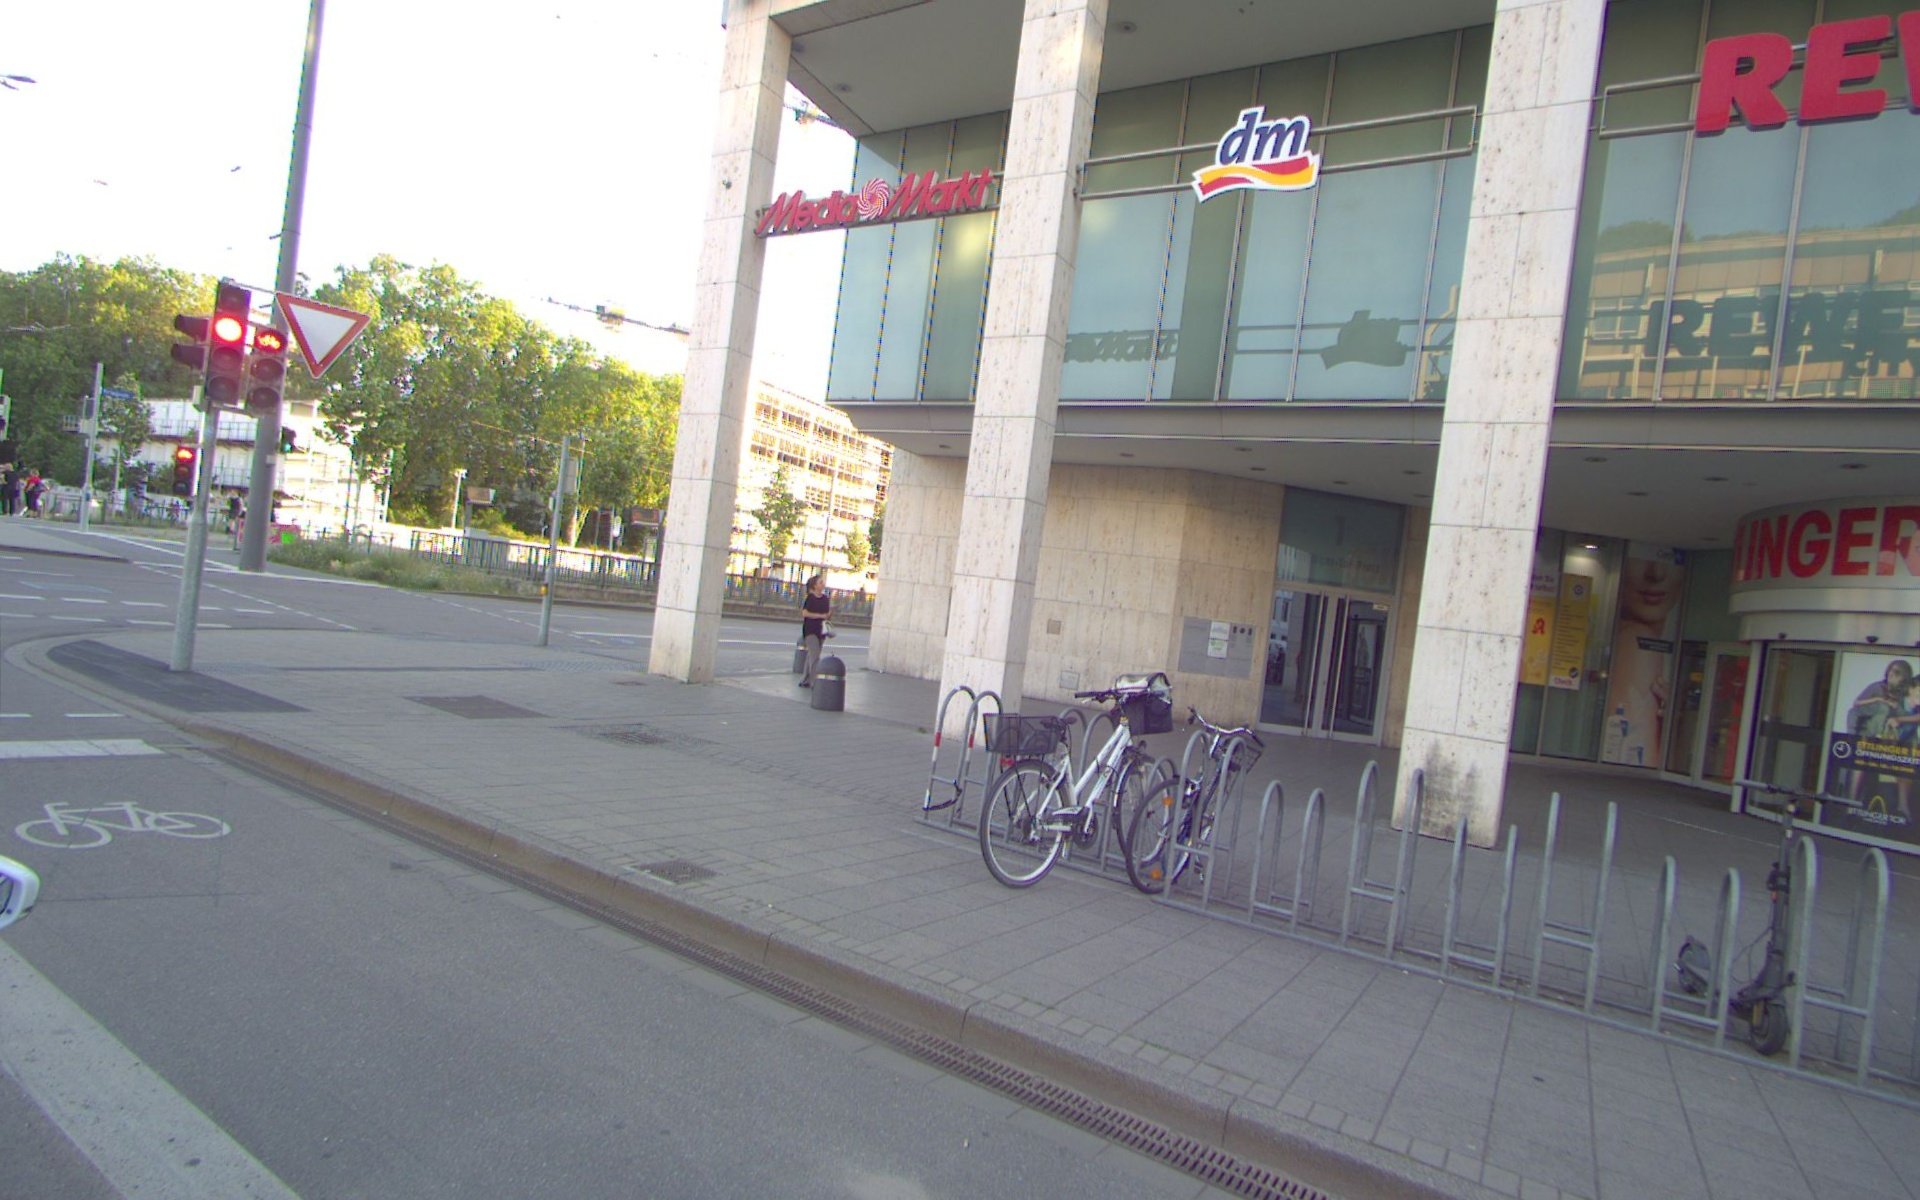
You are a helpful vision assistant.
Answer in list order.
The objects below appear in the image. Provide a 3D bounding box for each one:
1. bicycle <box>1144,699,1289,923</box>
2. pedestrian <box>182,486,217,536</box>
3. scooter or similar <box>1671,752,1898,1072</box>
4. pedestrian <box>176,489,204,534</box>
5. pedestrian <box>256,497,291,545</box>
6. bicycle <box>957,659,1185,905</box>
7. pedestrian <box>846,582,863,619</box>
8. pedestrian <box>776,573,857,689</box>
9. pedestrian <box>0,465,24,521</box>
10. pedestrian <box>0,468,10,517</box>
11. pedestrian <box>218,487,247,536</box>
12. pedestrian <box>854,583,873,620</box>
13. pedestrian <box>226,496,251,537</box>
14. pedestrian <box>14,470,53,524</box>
[{"bbox_3d":[1.675,1.239,6.372,0.474,1.092,1.773,8,0,24],"label":"bicycle"},{"bbox_3d":[-28.476,-3.317,37.667,0.700,1.746,0.668,8,1,24],"label":"pedestrian"},{"bbox_3d":[3.988,1.437,4.955,0.484,1.214,1.196,8,1,27],"label":"scooter or similar"},{"bbox_3d":[-29.482,-3.384,38.530,0.527,1.612,0.571,8,1,32],"label":"pedestrian"},{"bbox_3d":[-26.890,-3.082,39.426,0.699,1.746,0.668,7,1,10],"label":"pedestrian"},{"bbox_3d":[0.701,1.005,5.924,0.540,1.198,1.479,8,1,36],"label":"bicycle"},{"bbox_3d":[-6.195,0.027,59.070,0.559,2.039,0.575,8,1,28],"label":"pedestrian"},{"bbox_3d":[-2.183,0.484,15.331,0.696,1.659,0.792,8,1,31],"label":"pedestrian"},{"bbox_3d":[-32.844,-3.689,34.587,0.803,1.814,0.790,7,1,-44],"label":"pedestrian"},{"bbox_3d":[-33.979,-3.818,35.458,0.570,1.699,0.631,7,1,-44],"label":"pedestrian"},{"bbox_3d":[-27.800,-3.373,38.447,0.708,1.746,0.660,7,1,-41],"label":"pedestrian"},{"bbox_3d":[-5.646,0.088,58.771,0.631,2.039,0.626,8,1,28],"label":"pedestrian"},{"bbox_3d":[-28.105,-3.249,39.179,0.672,1.459,0.707,7,1,-36],"label":"pedestrian"},{"bbox_3d":[-32.681,-3.633,35.491,0.696,1.756,0.843,8,1,44],"label":"pedestrian"}]
